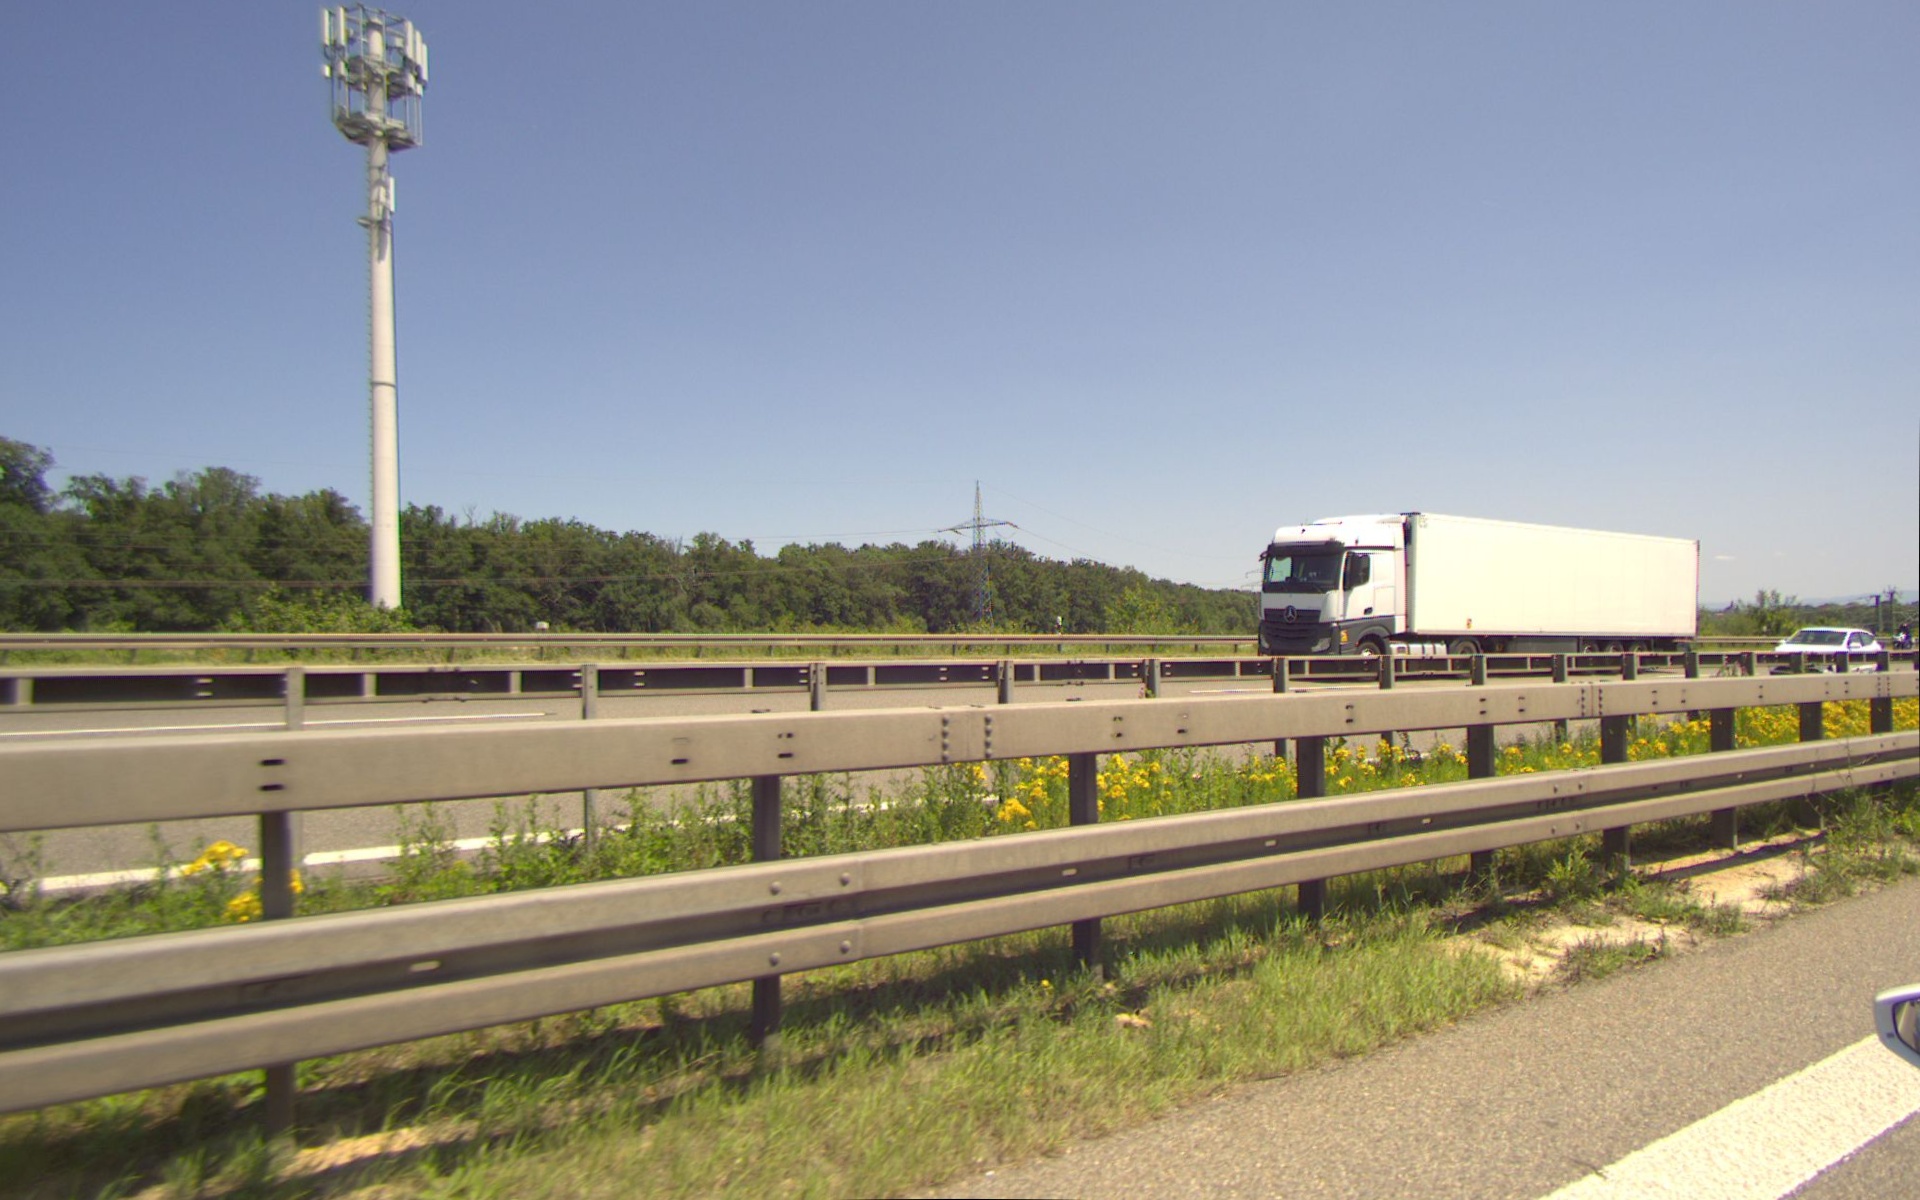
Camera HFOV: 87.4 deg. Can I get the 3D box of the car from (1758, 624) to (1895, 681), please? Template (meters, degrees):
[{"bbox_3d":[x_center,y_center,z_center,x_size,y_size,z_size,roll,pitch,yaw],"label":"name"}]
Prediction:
[{"bbox_3d":[25.069,1.483,29.032,3.959,1.508,1.734,1,0,-29],"label":"car"}]

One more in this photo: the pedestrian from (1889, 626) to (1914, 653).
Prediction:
[{"bbox_3d":[47.524,2.016,50.710,1.023,1.334,0.648,1,0,-29],"label":"pedestrian"}]

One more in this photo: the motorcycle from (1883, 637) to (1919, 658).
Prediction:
[{"bbox_3d":[47.567,2.407,50.734,2.458,1.028,0.655,1,0,-30],"label":"motorcycle"}]

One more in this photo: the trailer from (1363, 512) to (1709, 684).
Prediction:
[{"bbox_3d":[17.119,0.060,29.356,12.100,4.297,3.021,1,0,-29],"label":"trailer"}]

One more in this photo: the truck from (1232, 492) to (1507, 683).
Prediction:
[{"bbox_3d":[10.462,-0.235,25.553,6.604,4.297,3.021,1,0,-29],"label":"truck"}]
